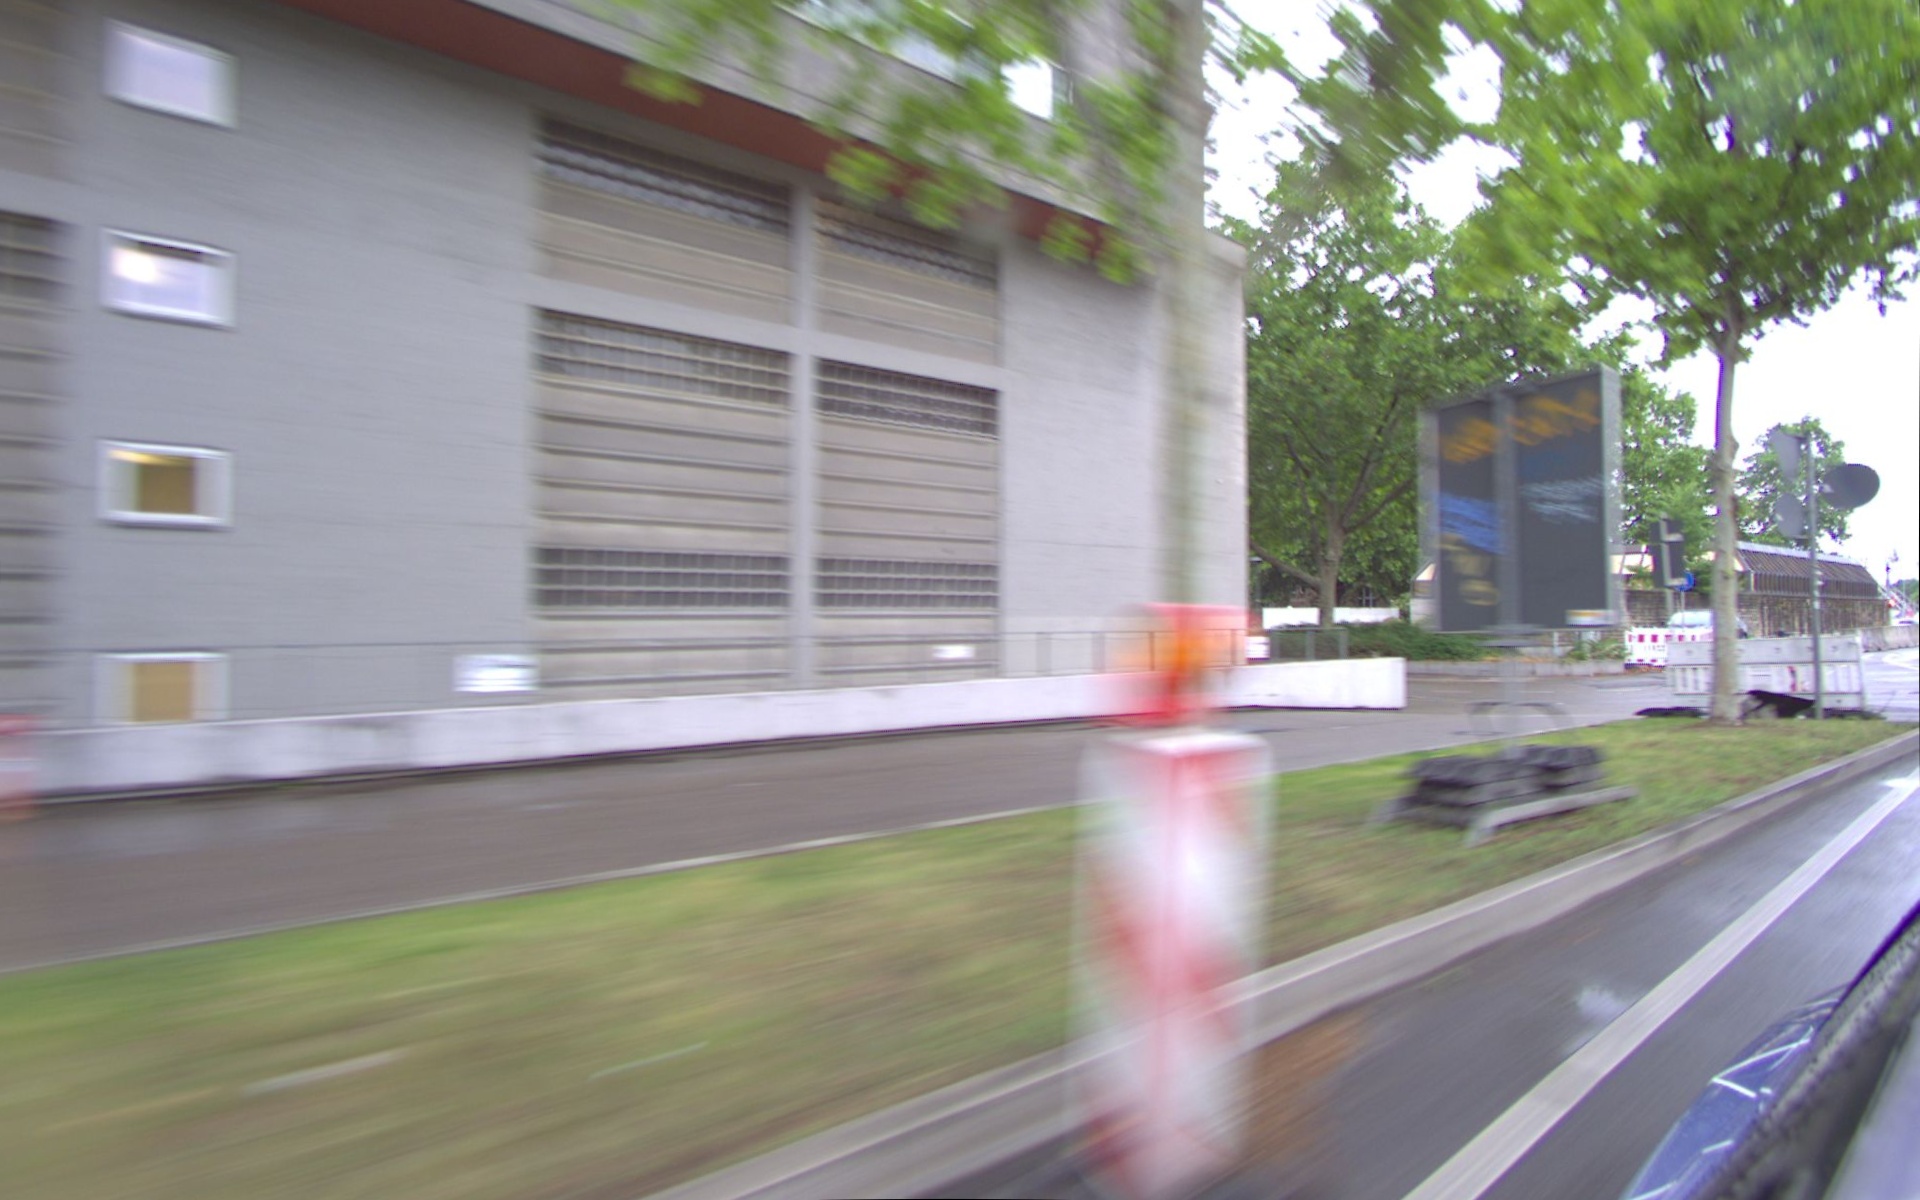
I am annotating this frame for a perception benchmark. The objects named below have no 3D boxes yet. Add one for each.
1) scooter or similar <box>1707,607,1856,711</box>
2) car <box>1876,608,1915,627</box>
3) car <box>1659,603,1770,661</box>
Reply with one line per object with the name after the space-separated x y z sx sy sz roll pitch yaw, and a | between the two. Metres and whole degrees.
11.123 0.816 13.735 0.608 1.302 1.358 -2 -4 -38 | scooter or similar
101.412 1.925 109.789 1.981 2.040 4.378 -3 -3 28 | car
26.127 1.048 35.018 4.245 1.570 1.811 -3 6 -35 | car
